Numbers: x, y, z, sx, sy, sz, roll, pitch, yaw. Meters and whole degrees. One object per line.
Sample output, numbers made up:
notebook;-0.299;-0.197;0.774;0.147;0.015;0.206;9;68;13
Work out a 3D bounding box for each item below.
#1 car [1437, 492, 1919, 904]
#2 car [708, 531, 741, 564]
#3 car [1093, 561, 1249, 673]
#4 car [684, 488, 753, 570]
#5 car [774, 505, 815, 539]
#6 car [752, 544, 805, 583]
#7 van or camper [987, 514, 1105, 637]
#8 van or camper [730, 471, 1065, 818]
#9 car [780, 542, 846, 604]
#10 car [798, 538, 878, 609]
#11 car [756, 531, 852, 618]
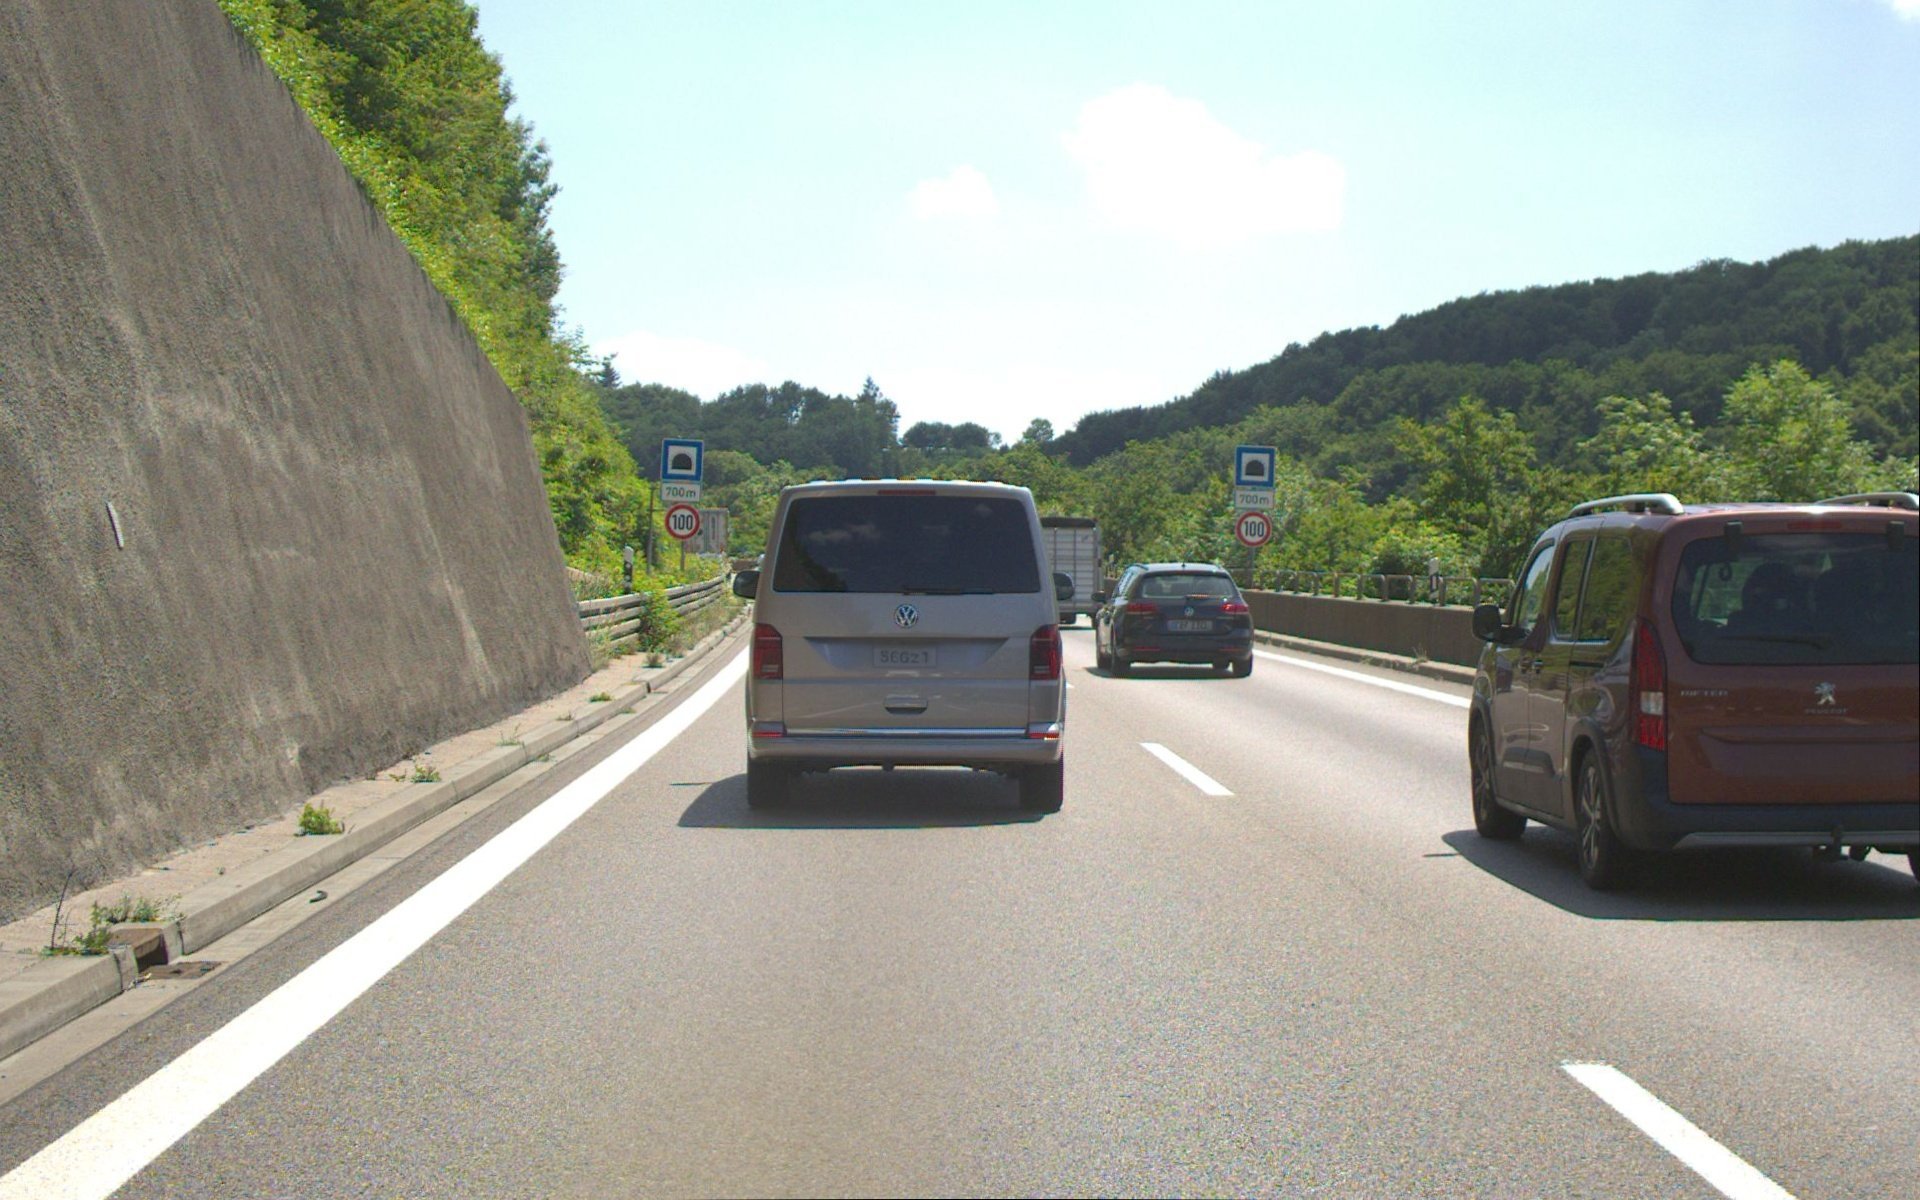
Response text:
car;3.704;0.412;17.210;1.833;1.778;4.676;0;0;-2
car;-15.040;-3.355;219.627;1.993;2.007;4.001;1;1;-6
car;2.714;0.196;44.973;1.768;1.371;3.593;1;1;-1
car;-14.819;-4.339;211.159;4.043;4.855;10.111;0;1;-4
car;-9.872;-4.626;204.642;1.993;2.007;4.001;0;1;-9
car;-7.530;-1.515;142.183;2.142;1.601;5.079;0;1;-4
van or camper;1.823;-0.547;74.473;2.263;2.542;4.737;-1;1;-1
van or camper;-0.363;0.228;21.560;1.875;1.943;4.294;0;1;0
car;-4.690;-0.877;109.165;1.993;1.908;4.001;0;1;-4
car;-3.212;-0.706;89.906;1.993;1.811;4.001;0;1;-3
car;-3.375;-0.555;74.134;1.993;1.811;4.001;0;1;-3
